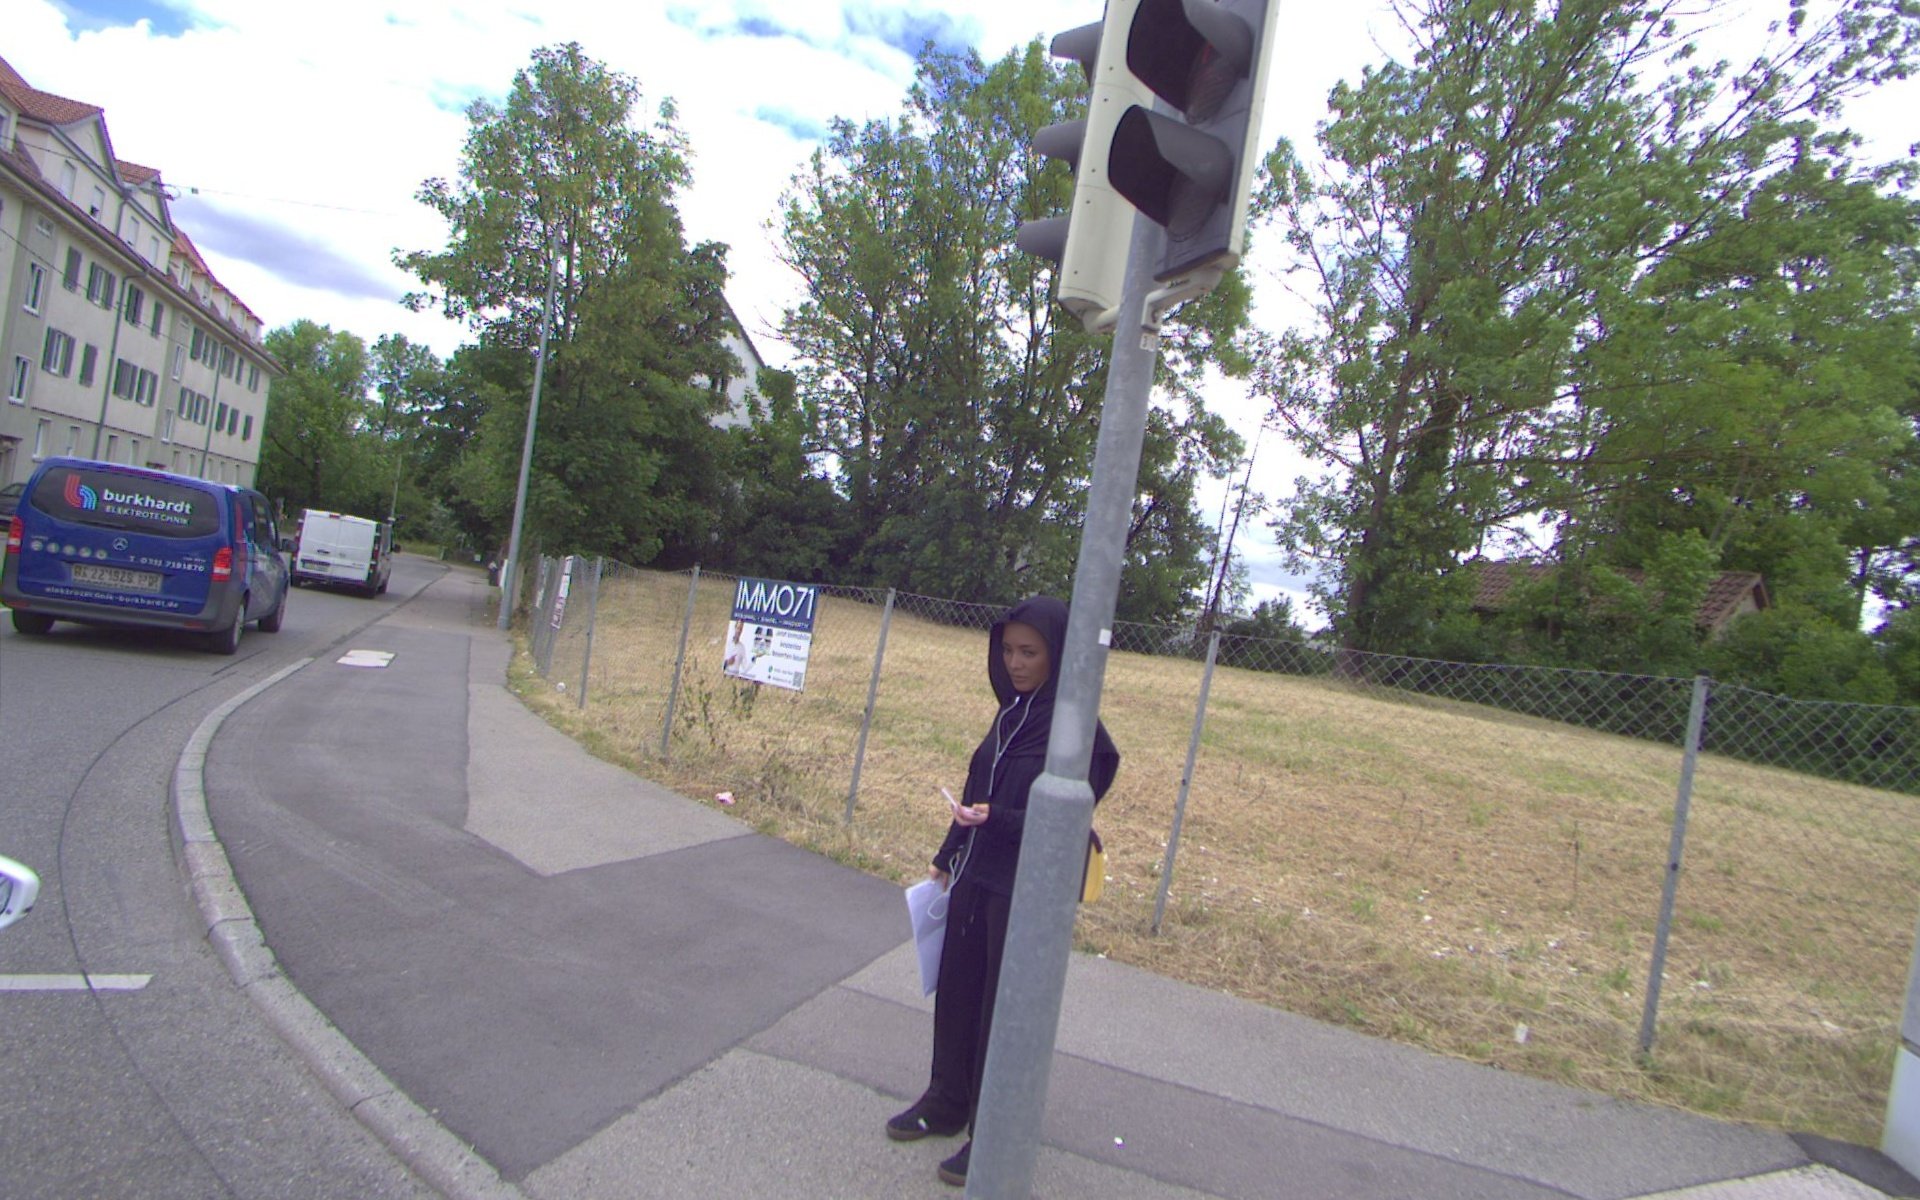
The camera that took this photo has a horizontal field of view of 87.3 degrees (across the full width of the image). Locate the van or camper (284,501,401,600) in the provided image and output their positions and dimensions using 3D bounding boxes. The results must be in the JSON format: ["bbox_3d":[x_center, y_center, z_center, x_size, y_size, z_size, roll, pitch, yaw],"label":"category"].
[{"bbox_3d":[-16.156,-1.284,26.578,1.979,2.036,5.061,10,-2,-27],"label":"van or camper"}]

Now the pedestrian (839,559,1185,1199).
[{"bbox_3d":[0.119,0.730,2.817,0.601,1.618,0.602,5,2,-27],"label":"pedestrian"}]

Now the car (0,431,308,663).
[{"bbox_3d":[-9.255,-0.604,11.883,1.932,1.989,4.509,8,0,-27],"label":"car"}]

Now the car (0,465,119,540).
[{"bbox_3d":[-26.119,-2.763,28.707,1.974,1.771,3.978,8,0,-23],"label":"car"}]
